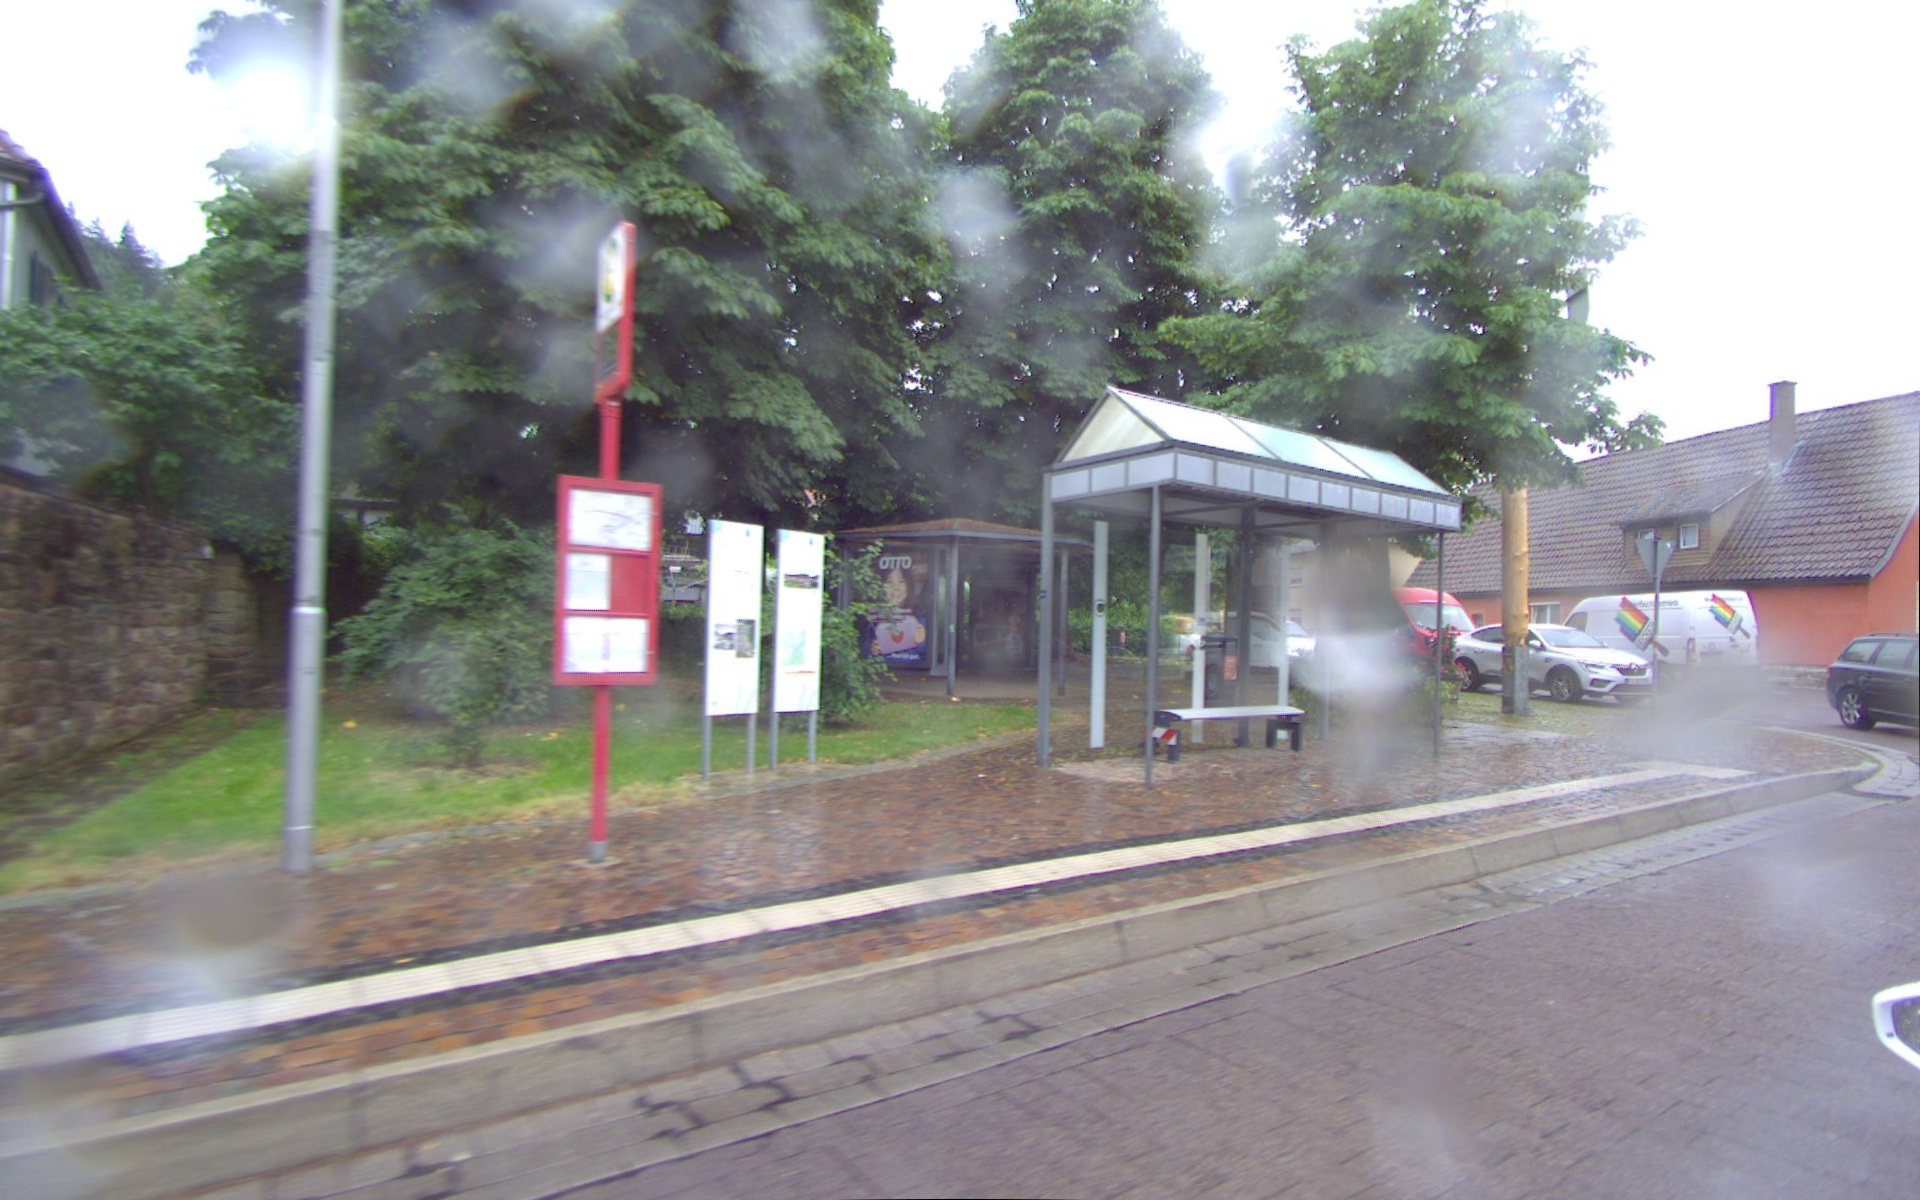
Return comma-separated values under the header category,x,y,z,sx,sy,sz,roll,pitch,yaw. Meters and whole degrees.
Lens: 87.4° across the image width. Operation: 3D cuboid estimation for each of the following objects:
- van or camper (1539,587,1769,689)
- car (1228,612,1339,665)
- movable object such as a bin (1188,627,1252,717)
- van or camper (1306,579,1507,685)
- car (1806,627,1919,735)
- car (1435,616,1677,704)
category,x,y,z,sx,sy,sz,roll,pitch,yaw
van or camper,18.332,0.982,26.944,2.170,2.468,5.153,0,-1,-8
car,10.544,1.237,33.012,1.770,1.570,3.803,2,-2,-12
movable object such as a bin,3.485,0.961,13.456,0.599,1.161,0.558,4,-3,-36
van or camper,11.743,0.772,27.037,2.115,2.506,5.869,2,0,-8
car,14.300,1.130,14.078,1.812,1.496,4.317,-1,-2,10
car,12.420,1.181,21.318,1.850,1.570,4.449,2,0,-13
